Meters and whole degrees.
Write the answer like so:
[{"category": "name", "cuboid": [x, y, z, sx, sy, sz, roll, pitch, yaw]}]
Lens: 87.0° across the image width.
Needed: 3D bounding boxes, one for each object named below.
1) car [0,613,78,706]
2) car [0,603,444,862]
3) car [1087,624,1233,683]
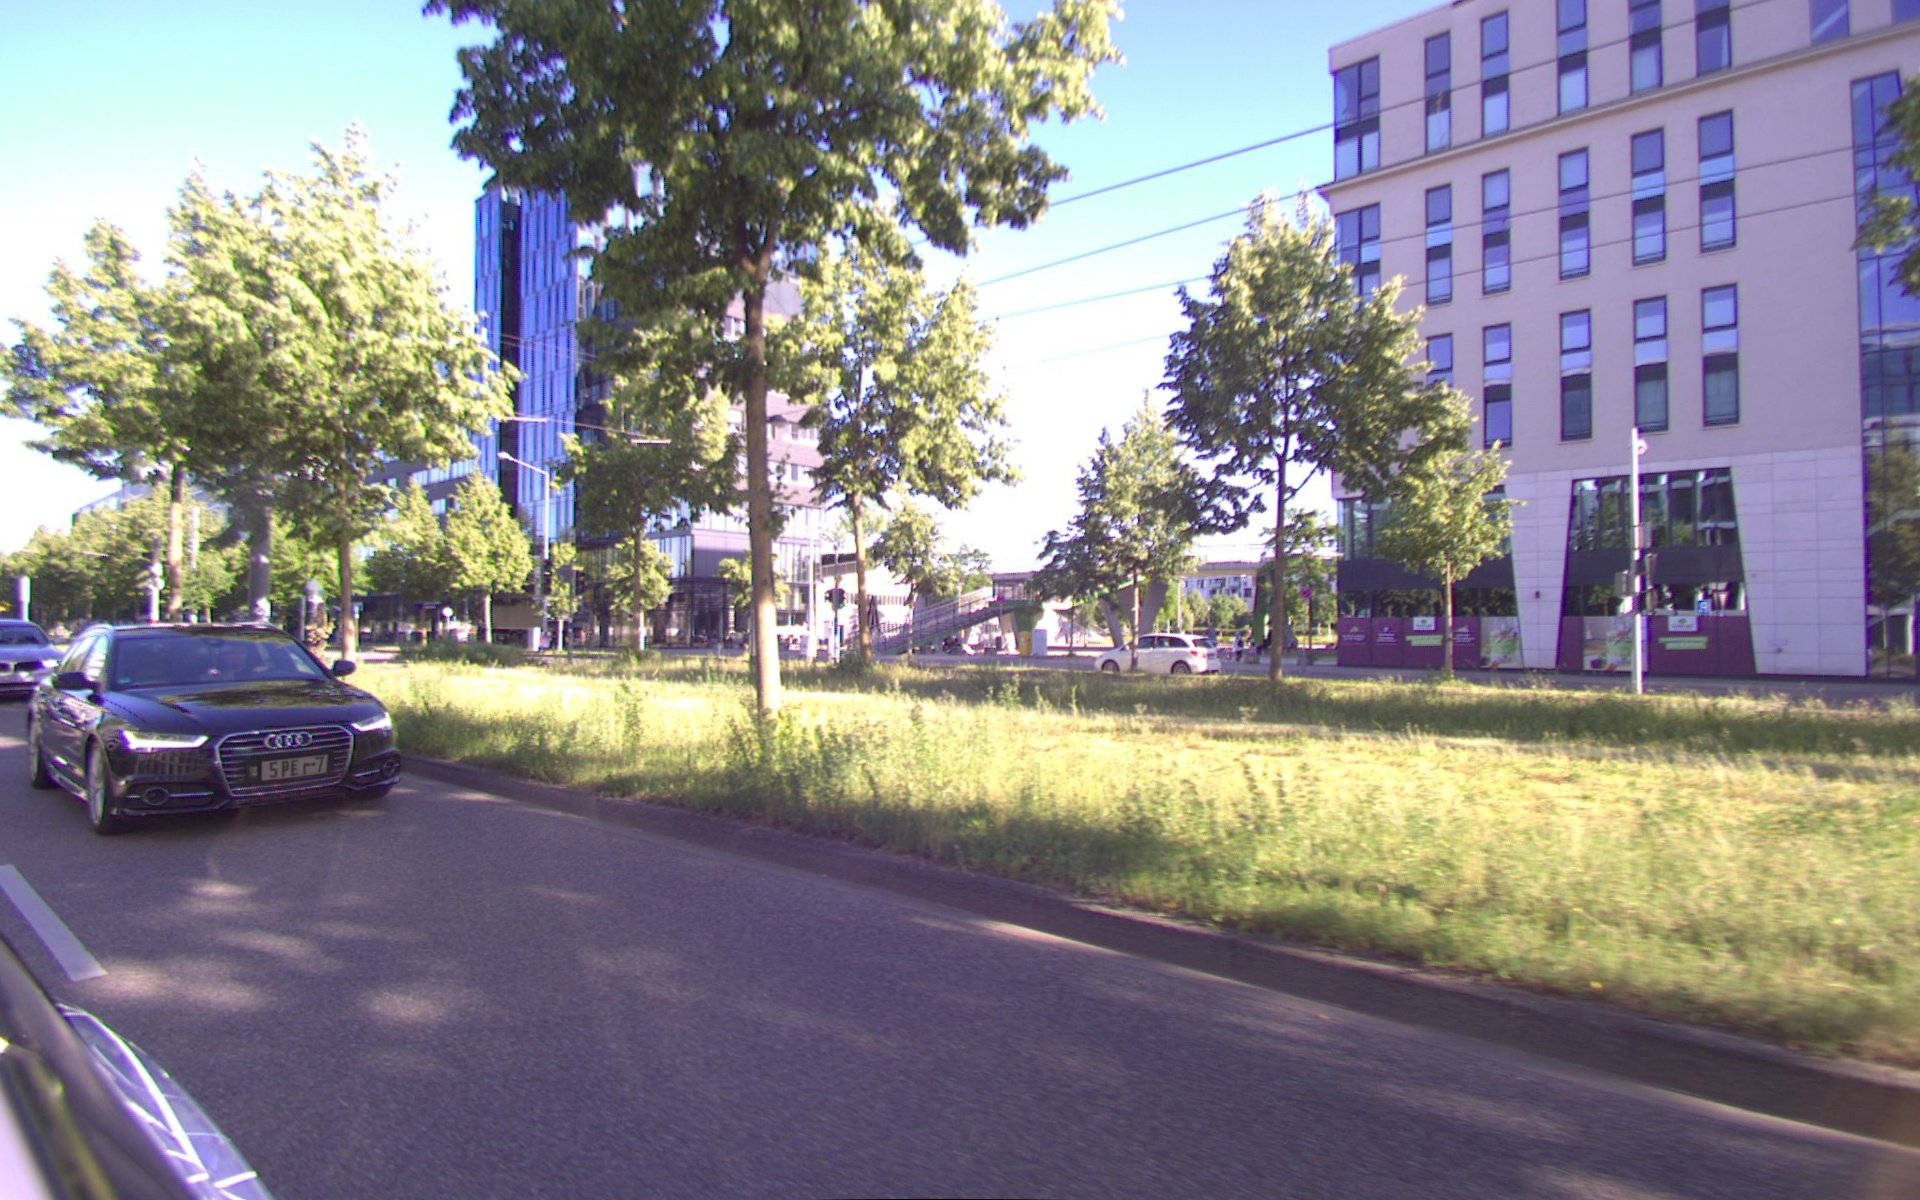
[{"category": "car", "cuboid": [-18.279, 1.071, 19.137, 4.276, 1.590, 1.862, -1, 0, 41]}, {"category": "car", "cuboid": [-6.317, 0.868, 8.208, 5.079, 1.492, 1.933, -3, -3, 39]}, {"category": "car", "cuboid": [6.776, 1.765, 34.474, 4.416, 1.822, 2.080, -1, 0, 39]}]
